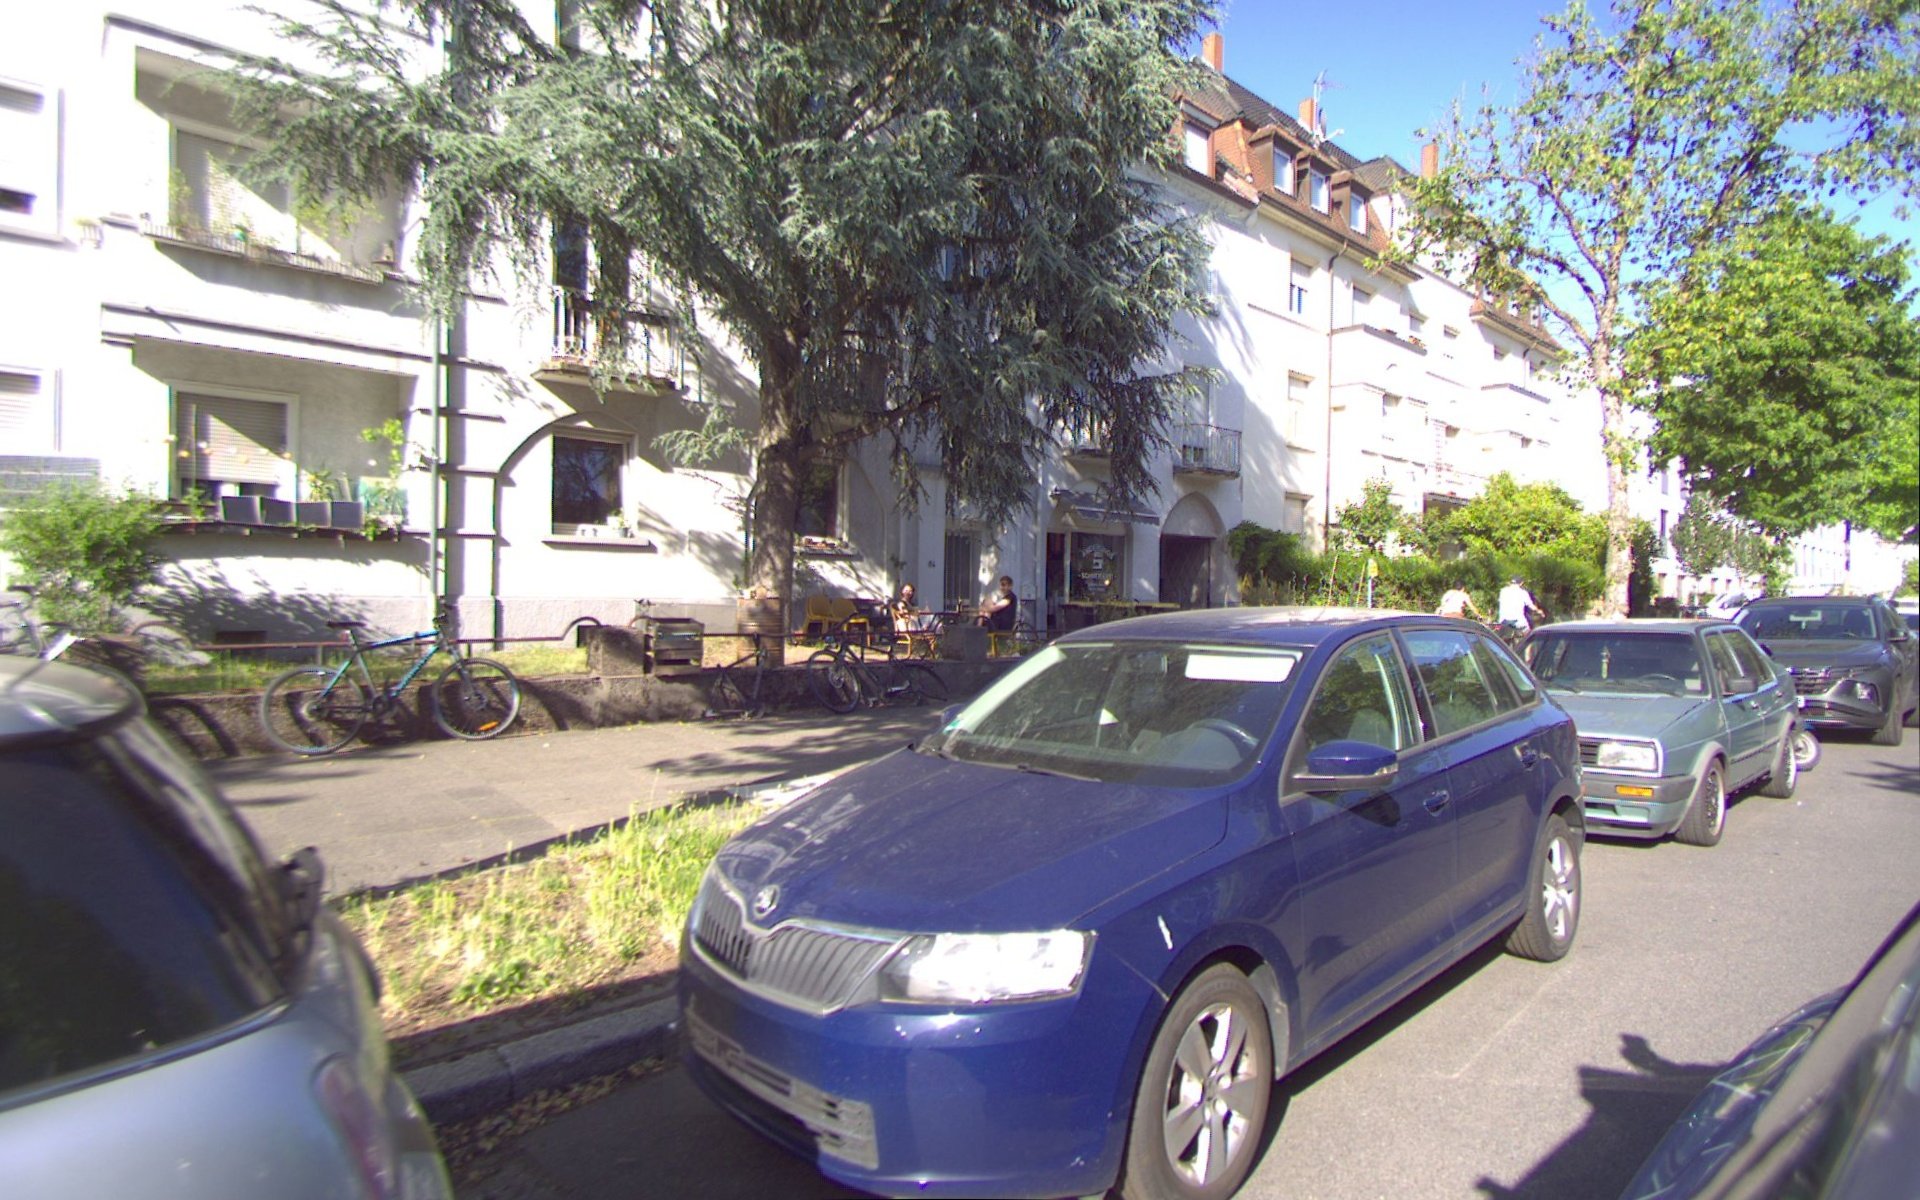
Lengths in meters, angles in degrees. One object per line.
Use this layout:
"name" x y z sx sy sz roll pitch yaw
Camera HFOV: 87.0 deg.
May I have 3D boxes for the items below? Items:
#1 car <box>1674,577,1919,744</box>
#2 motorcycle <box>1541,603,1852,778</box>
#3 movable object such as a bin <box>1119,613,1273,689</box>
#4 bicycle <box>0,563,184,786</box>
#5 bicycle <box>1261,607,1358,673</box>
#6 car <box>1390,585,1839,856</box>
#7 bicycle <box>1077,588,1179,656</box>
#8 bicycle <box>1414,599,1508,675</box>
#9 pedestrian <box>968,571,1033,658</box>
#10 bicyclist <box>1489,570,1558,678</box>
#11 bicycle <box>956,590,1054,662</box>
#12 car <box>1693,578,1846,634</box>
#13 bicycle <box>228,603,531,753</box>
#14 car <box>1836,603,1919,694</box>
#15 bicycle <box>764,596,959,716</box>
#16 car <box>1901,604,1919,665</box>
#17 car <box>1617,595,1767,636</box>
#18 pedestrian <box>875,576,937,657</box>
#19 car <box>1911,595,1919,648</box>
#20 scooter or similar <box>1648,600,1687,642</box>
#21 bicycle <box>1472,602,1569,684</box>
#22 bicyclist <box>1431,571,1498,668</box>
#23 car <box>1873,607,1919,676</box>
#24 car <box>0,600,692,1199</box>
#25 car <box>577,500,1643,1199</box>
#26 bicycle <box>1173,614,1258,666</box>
"car" 10.703 0.626 12.483 5.005 1.673 1.929 1 -1 -41
"motorcycle" 7.109 0.794 9.909 0.675 1.440 2.355 1 1 -42
"movable object such as a bin" 3.212 0.676 13.865 1.629 0.916 1.228 1 1 -21
"bicycle" -5.963 0.417 5.899 0.839 1.273 2.195 1 1 44
"bicycle" 5.651 0.620 16.311 1.870 0.987 0.582 0 2 -41
"car" 5.120 0.678 7.647 4.385 1.473 1.753 0 -1 -42
"bicycle" 3.018 0.370 18.365 0.572 1.114 1.902 1 2 -38
"bicycle" 8.440 0.581 16.985 0.684 1.167 2.364 3 2 45
"pedestrian" 0.559 0.192 13.938 0.742 1.157 0.510 0 0 -40
"bicyclist" 8.861 0.351 15.913 0.677 1.629 0.907 2 1 45
"bicycle" 0.754 0.417 17.479 0.572 1.114 1.902 1 2 -38
"car" 37.081 0.222 46.565 5.005 2.334 2.215 2 1 26
"bicycle" -4.276 0.520 7.553 1.871 0.969 0.596 0 2 -42
"car" 17.660 0.831 18.827 3.902 1.552 1.655 0 -1 -43
"bicycle" -0.995 0.526 10.590 1.967 1.129 0.804 0 1 -45
"car" 25.498 0.850 25.860 4.827 1.488 1.823 0 0 -43
"car" 30.534 0.593 42.385 1.913 1.488 4.742 0 2 -27
"pedestrian" -0.789 0.230 14.835 0.743 1.157 0.510 0 1 -44
"car" 30.902 0.655 31.305 4.884 1.543 1.897 -1 1 -43
"scooter or similar" 20.748 0.617 29.673 1.181 1.200 0.403 2 1 -27
"bicycle" 8.833 0.628 15.900 0.684 1.167 2.364 3 2 45
"bicyclist" 8.489 0.313 17.020 0.676 1.572 1.005 2 1 45
"car" 21.817 0.883 22.622 4.780 1.428 1.712 0 0 -43
"car" -2.325 0.746 0.751 3.717 1.471 1.791 0 0 -42
"car" 1.017 0.610 3.919 4.364 1.560 1.695 1 0 -42
"bicycle" 4.253 0.650 16.904 0.463 0.766 1.366 1 2 -38
